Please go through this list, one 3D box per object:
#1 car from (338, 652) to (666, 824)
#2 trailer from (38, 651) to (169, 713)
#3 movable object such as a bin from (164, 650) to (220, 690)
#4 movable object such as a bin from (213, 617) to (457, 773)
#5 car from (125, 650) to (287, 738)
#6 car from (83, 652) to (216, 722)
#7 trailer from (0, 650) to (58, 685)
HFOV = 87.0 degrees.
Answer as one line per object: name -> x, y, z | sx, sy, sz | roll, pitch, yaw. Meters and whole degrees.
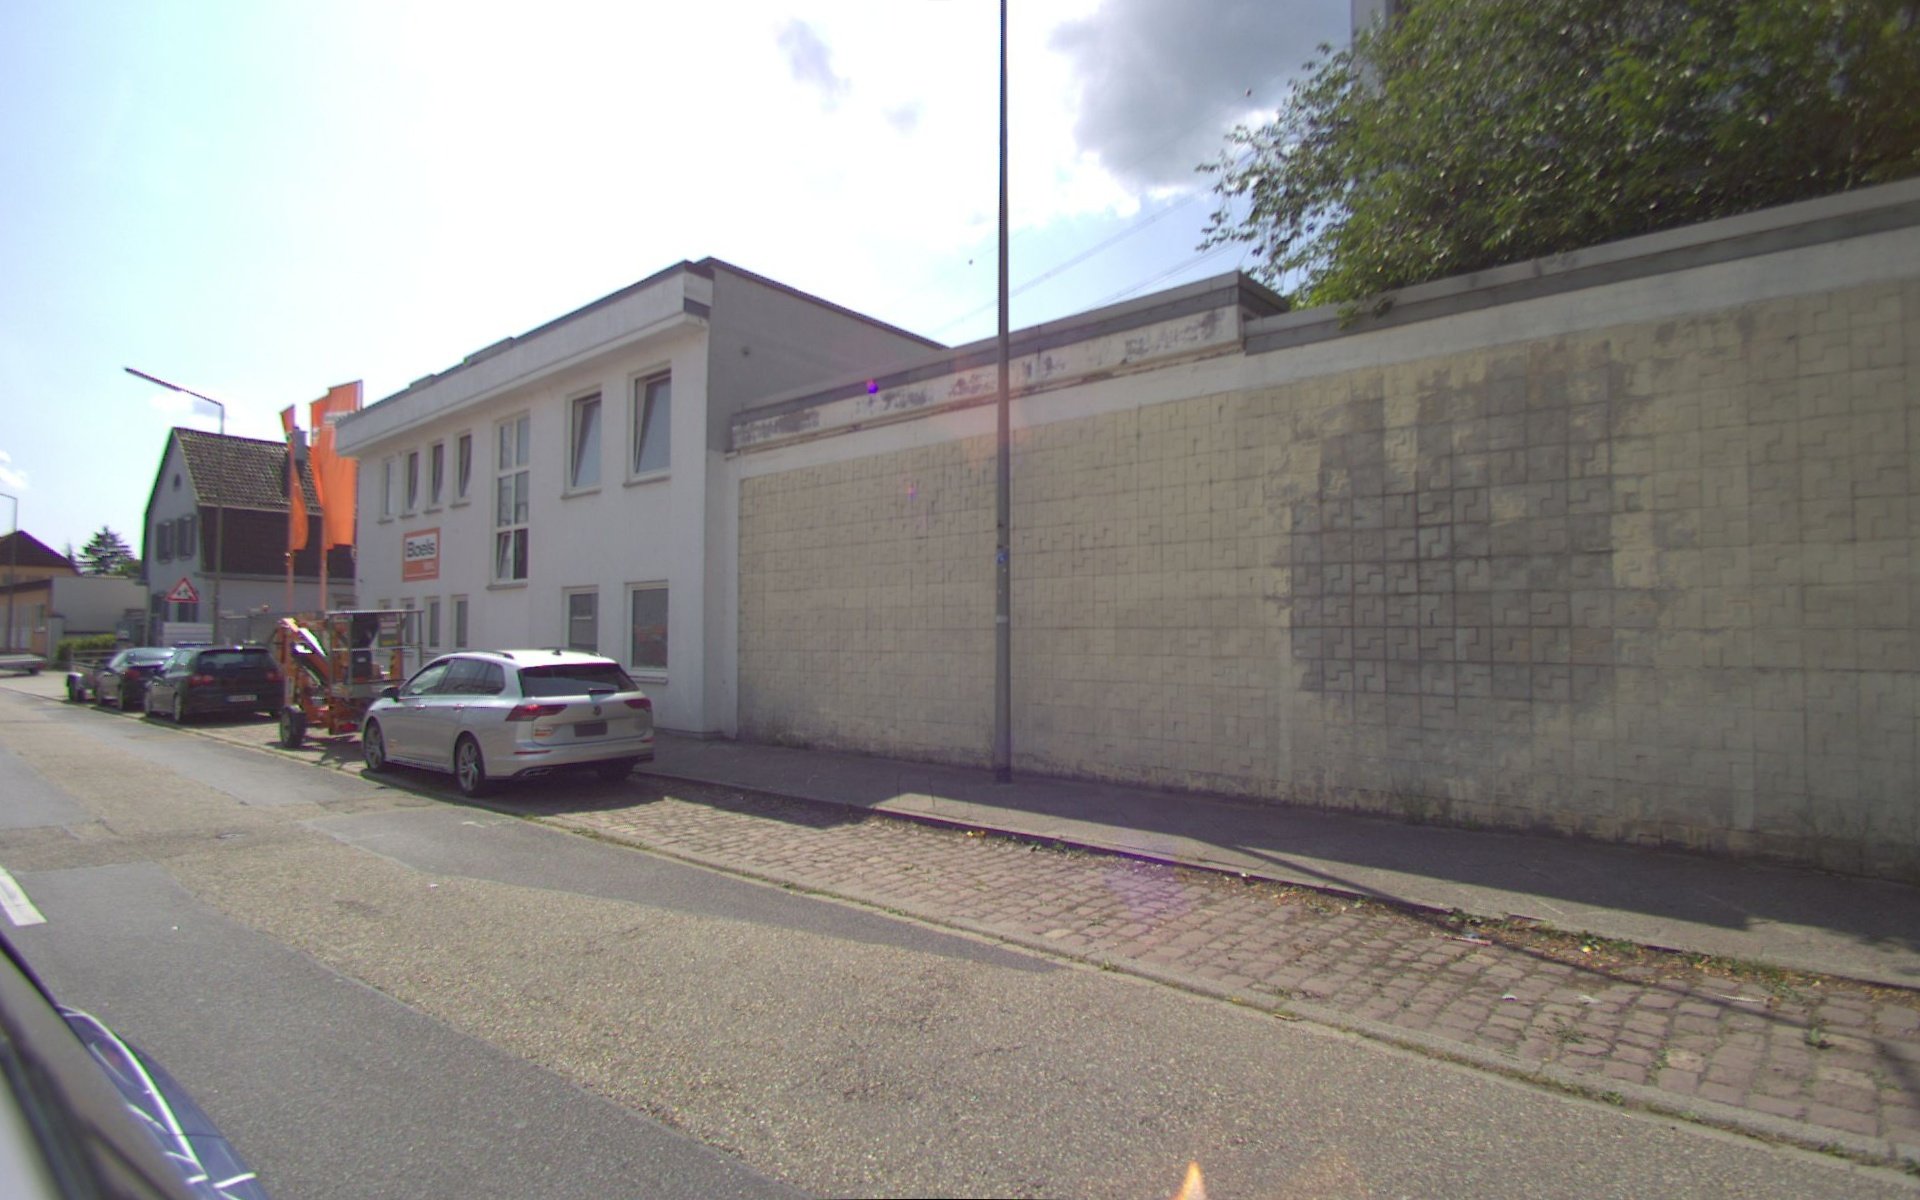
car -> -5.267, 1.365, 11.323 | 4.511, 1.466, 1.655 | -2, -2, 41
trailer -> -22.488, 2.069, 26.500 | 5.046, 1.387, 1.750 | -2, -2, 40
movable object such as a bin -> -28.257, 2.554, 37.246 | 1.186, 1.438, 1.304 | -2, -4, 36
movable object such as a bin -> -9.540, 1.309, 15.237 | 5.134, 1.933, 1.597 | -3, 0, 41
car -> -14.840, 1.750, 19.847 | 4.221, 1.466, 1.656 | -2, -2, 40
car -> -18.720, 1.940, 23.333 | 3.880, 1.387, 1.656 | -2, -2, 40
trailer -> -36.727, 2.578, 38.768 | 6.048, 1.173, 2.426 | -2, -2, 40
